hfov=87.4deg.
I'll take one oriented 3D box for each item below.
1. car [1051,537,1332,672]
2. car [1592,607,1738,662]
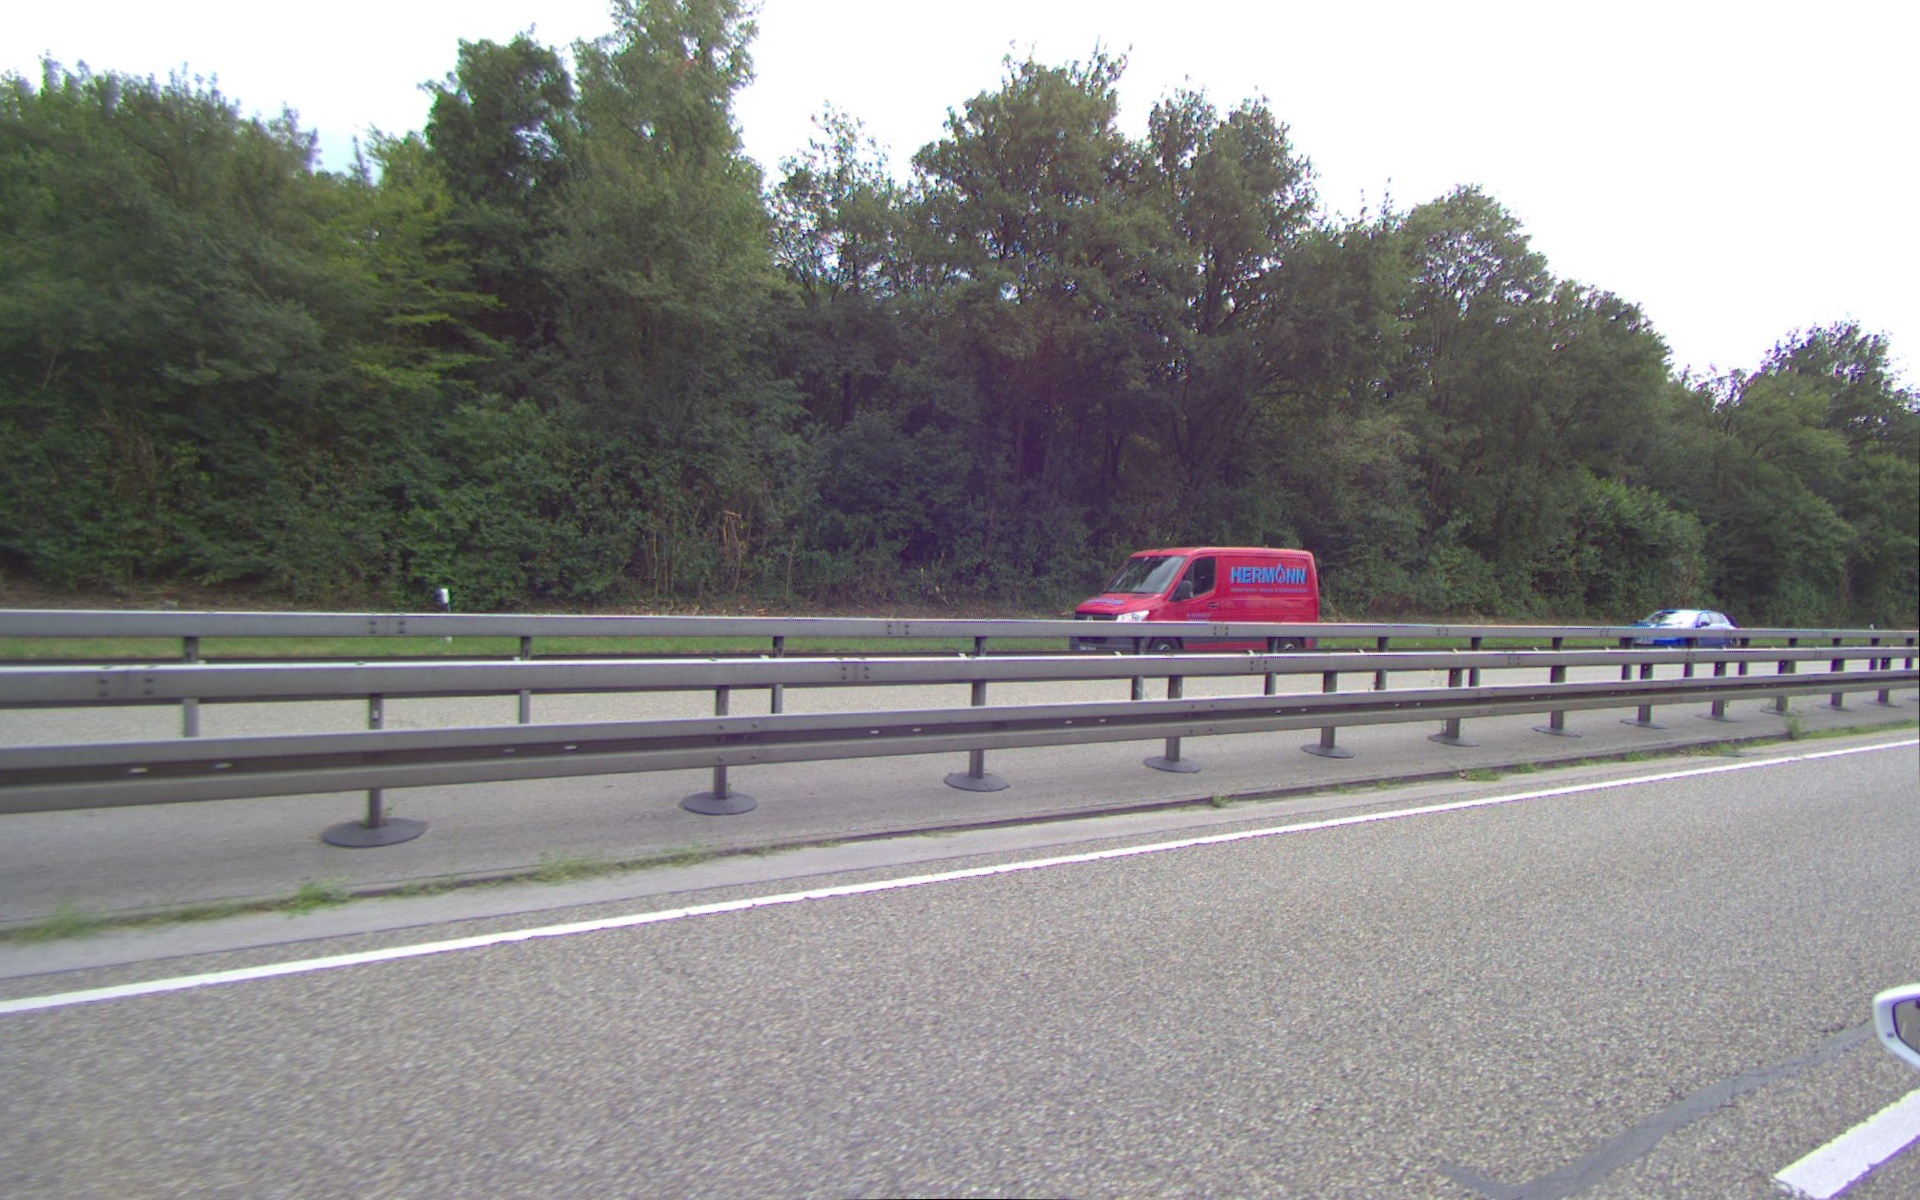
[{"bbox_3d":[4.514,0.127,19.276,5.314,2.286,2.055,1,-1,-31],"label":"car"},{"bbox_3d":[21.259,1.027,30.262,4.453,1.530,1.983,1,-1,-31],"label":"car"}]
